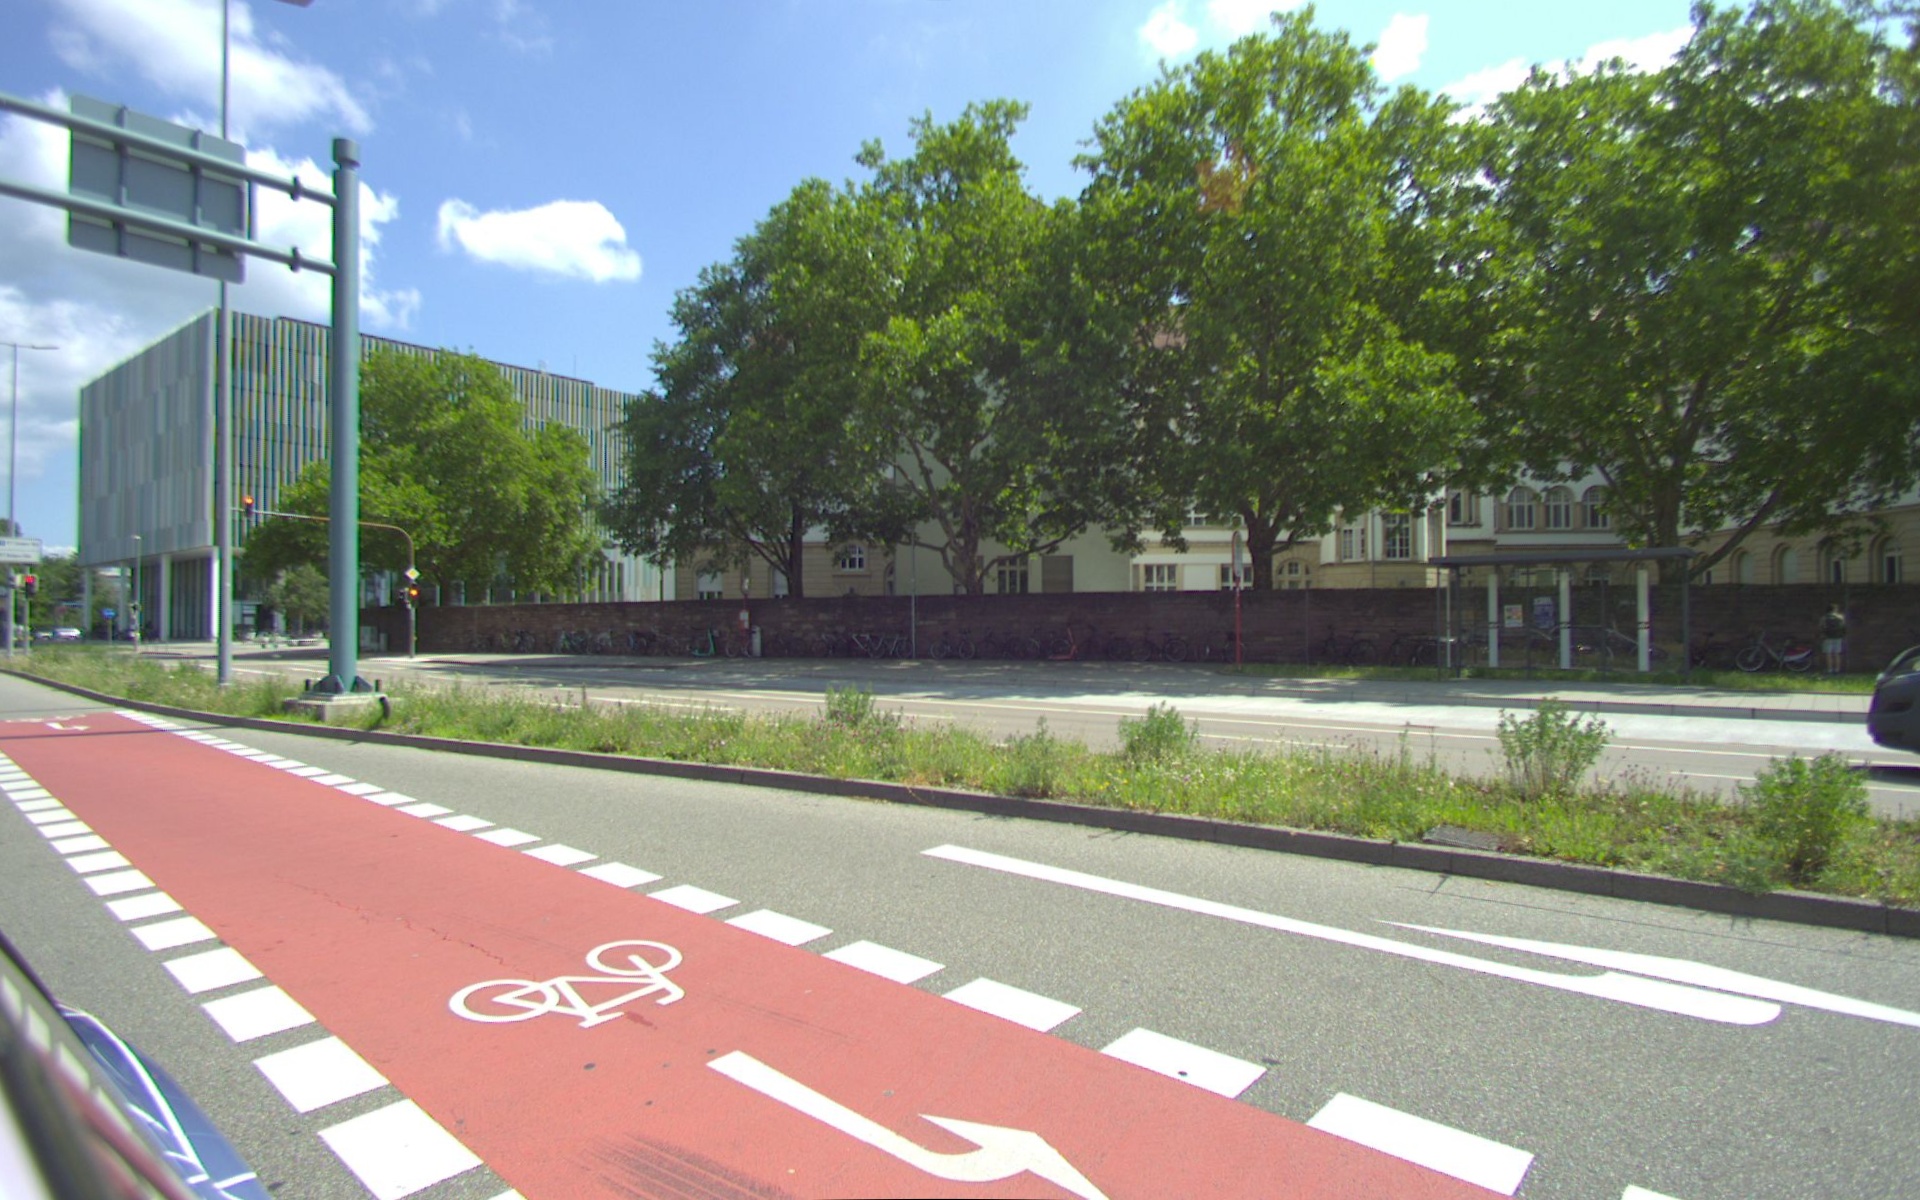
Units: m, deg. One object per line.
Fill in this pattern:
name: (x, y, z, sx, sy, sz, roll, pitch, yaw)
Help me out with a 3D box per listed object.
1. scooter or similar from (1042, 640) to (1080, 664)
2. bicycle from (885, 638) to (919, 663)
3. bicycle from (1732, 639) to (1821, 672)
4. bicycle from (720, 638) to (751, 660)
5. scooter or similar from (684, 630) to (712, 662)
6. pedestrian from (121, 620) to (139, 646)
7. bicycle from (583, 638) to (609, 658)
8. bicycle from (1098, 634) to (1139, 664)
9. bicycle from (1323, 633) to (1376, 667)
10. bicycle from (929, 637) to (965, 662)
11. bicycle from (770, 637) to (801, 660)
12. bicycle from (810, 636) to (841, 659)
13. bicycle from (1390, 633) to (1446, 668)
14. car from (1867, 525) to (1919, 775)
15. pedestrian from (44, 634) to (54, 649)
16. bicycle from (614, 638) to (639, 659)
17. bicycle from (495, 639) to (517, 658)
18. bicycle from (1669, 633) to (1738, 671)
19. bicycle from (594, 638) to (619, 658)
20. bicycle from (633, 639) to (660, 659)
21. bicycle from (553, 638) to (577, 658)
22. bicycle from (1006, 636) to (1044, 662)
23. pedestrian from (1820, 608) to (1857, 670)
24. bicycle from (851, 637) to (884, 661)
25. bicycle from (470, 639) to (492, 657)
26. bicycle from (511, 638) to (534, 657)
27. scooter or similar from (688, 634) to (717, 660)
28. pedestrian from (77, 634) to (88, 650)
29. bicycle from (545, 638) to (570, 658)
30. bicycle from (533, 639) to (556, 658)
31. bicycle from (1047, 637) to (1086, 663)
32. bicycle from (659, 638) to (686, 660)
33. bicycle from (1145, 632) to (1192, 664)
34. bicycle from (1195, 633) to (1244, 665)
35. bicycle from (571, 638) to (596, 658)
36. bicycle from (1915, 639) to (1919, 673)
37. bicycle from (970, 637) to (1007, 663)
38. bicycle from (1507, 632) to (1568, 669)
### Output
scooter or similar: (3.171, 1.628, 31.803, 1.133, 0.734, 0.264, -1, -2, 18)
bicycle: (-2.022, 1.750, 35.112, 1.231, 0.837, 0.262, -1, -2, 30)
bicycle: (20.737, 1.406, 25.716, 1.734, 0.823, 0.327, -1, -2, 18)
bicycle: (-8.653, 1.885, 38.945, 1.226, 0.837, 0.263, -1, -2, 19)
scooter or similar: (-10.067, 1.759, 38.888, 1.230, 1.199, 0.262, -1, -2, 29)
pedestrian: (-65.327, 2.605, 79.650, 0.994, 2.029, 0.853, -2, -2, 39)
bicycle: (-15.319, 2.004, 42.587, 1.230, 0.837, 0.262, -1, -2, 29)
bicycle: (4.937, 1.522, 31.590, 1.230, 0.915, 0.262, -1, -2, 28)
bicycle: (11.171, 1.427, 29.028, 1.384, 0.972, 0.263, -1, -2, 18)
bicycle: (-0.439, 1.672, 34.273, 1.230, 0.837, 0.262, -1, -2, 28)
bicycle: (-6.477, 1.809, 37.562, 1.231, 0.837, 0.262, -1, -2, 30)
bicycle: (-4.897, 1.720, 36.854, 1.231, 0.837, 0.262, -1, -2, 30)
bicycle: (12.857, 1.405, 28.414, 1.384, 0.972, 0.263, -1, -2, 18)
car: (10.783, 0.424, 8.192, 5.016, 2.192, 2.125, -2, -4, 41)
pedestrian: (-88.930, 4.048, 98.805, 0.686, 1.464, 0.689, 1, -3, -45)
bicycle: (-13.912, 2.026, 42.199, 1.231, 0.837, 0.262, -1, -2, 30)
bicycle: (-21.059, 2.243, 46.962, 1.231, 0.837, 0.262, -1, -2, 30)
bicycle: (19.225, 1.347, 26.190, 1.384, 0.972, 0.263, -1, -2, 18)
bicycle: (-14.990, 2.015, 42.876, 1.231, 0.837, 0.262, -1, -2, 30)
bicycle: (-12.833, 2.005, 41.416, 1.231, 0.837, 0.262, -1, -2, 30)
bicycle: (-17.412, 2.110, 44.556, 1.230, 0.837, 0.262, -1, -2, 29)
bicycle: (2.125, 1.610, 33.065, 1.230, 0.837, 0.262, -1, -2, 28)
pedestrian: (21.428, 0.938, 24.699, 0.633, 1.484, 0.504, -2, -2, 39)
bicycle: (-3.299, 1.754, 35.961, 1.231, 0.837, 0.262, -1, -2, 30)
bicycle: (-22.698, 2.258, 47.955, 1.231, 0.837, 0.262, -1, -2, 30)
bicycle: (-19.978, 2.177, 46.194, 1.230, 0.837, 0.262, -1, -2, 29)
scooter or similar: (-10.151, 1.859, 39.915, 1.133, 1.028, 0.264, -1, -2, 19)
pedestrian: (-81.273, 3.882, 93.734, 0.689, 1.464, 0.687, -2, -3, 45)
bicycle: (-17.488, 2.093, 43.962, 1.230, 0.837, 0.262, -1, -2, 29)
bicycle: (-18.601, 2.161, 45.306, 1.230, 0.837, 0.262, -1, -2, 29)
bicycle: (3.402, 1.593, 32.453, 1.230, 0.837, 0.262, -1, -2, 28)
bicycle: (-11.540, 1.965, 40.557, 1.231, 0.837, 0.262, -1, -2, 30)
bicycle: (6.393, 1.476, 31.032, 1.385, 0.972, 0.263, -1, -2, 20)
bicycle: (7.799, 1.470, 30.411, 1.389, 0.972, 0.262, -1, -2, 28)
bicycle: (-16.273, 2.081, 43.721, 1.231, 0.837, 0.262, -1, -2, 30)
bicycle: (24.414, 1.359, 24.603, 1.734, 0.823, 0.382, -1, -2, 18)
bicycle: (0.953, 1.665, 33.714, 1.230, 0.837, 0.262, -1, -2, 28)
bicycle: (15.623, 1.369, 27.384, 1.384, 0.972, 0.263, -1, -2, 18)
